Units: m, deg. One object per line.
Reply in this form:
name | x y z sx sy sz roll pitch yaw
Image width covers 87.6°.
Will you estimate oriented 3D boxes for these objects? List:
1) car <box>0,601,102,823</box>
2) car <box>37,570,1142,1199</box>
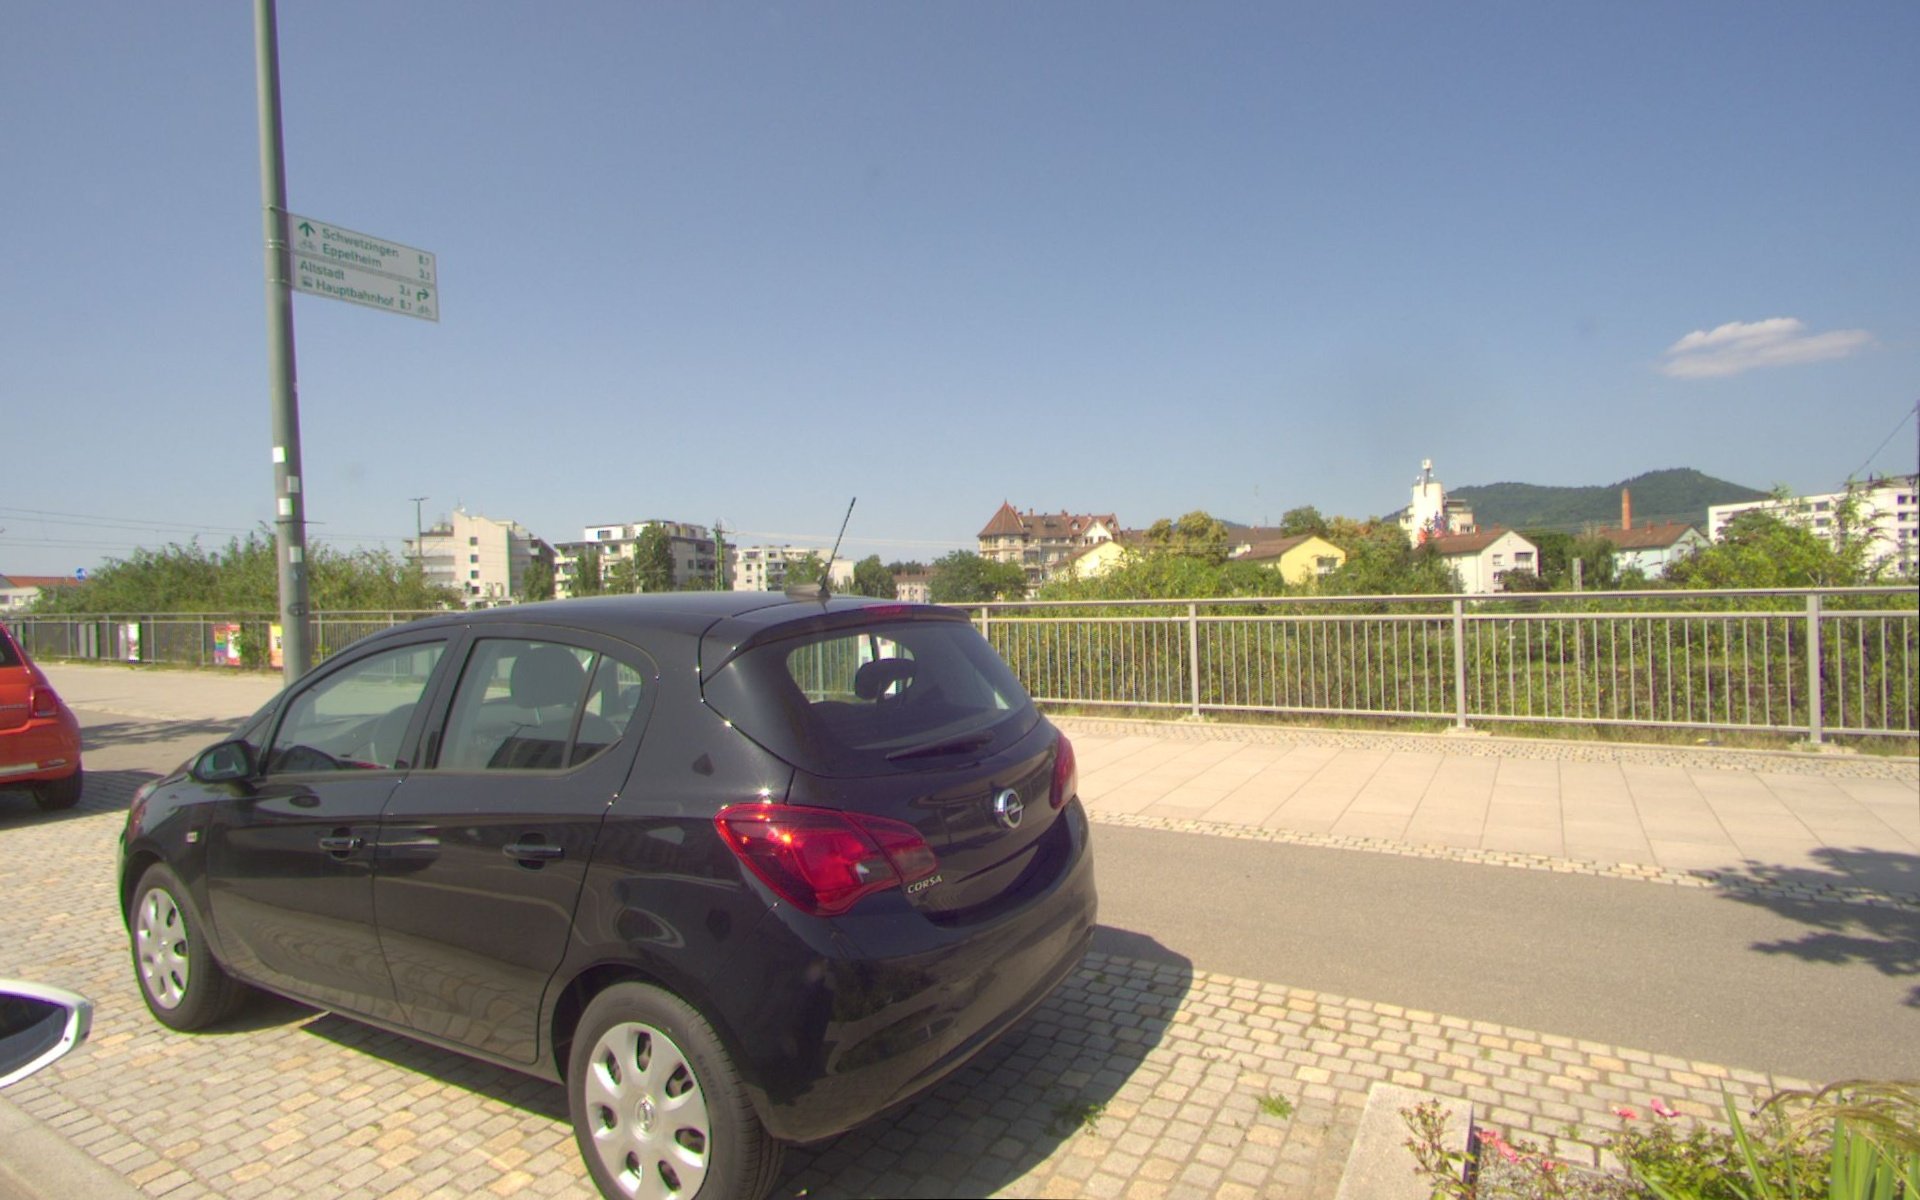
car | -8.132 0.804 7.584 3.305 1.517 1.605 -1 2 34
car | -1.521 0.693 3.607 3.943 1.445 1.656 -1 1 32
